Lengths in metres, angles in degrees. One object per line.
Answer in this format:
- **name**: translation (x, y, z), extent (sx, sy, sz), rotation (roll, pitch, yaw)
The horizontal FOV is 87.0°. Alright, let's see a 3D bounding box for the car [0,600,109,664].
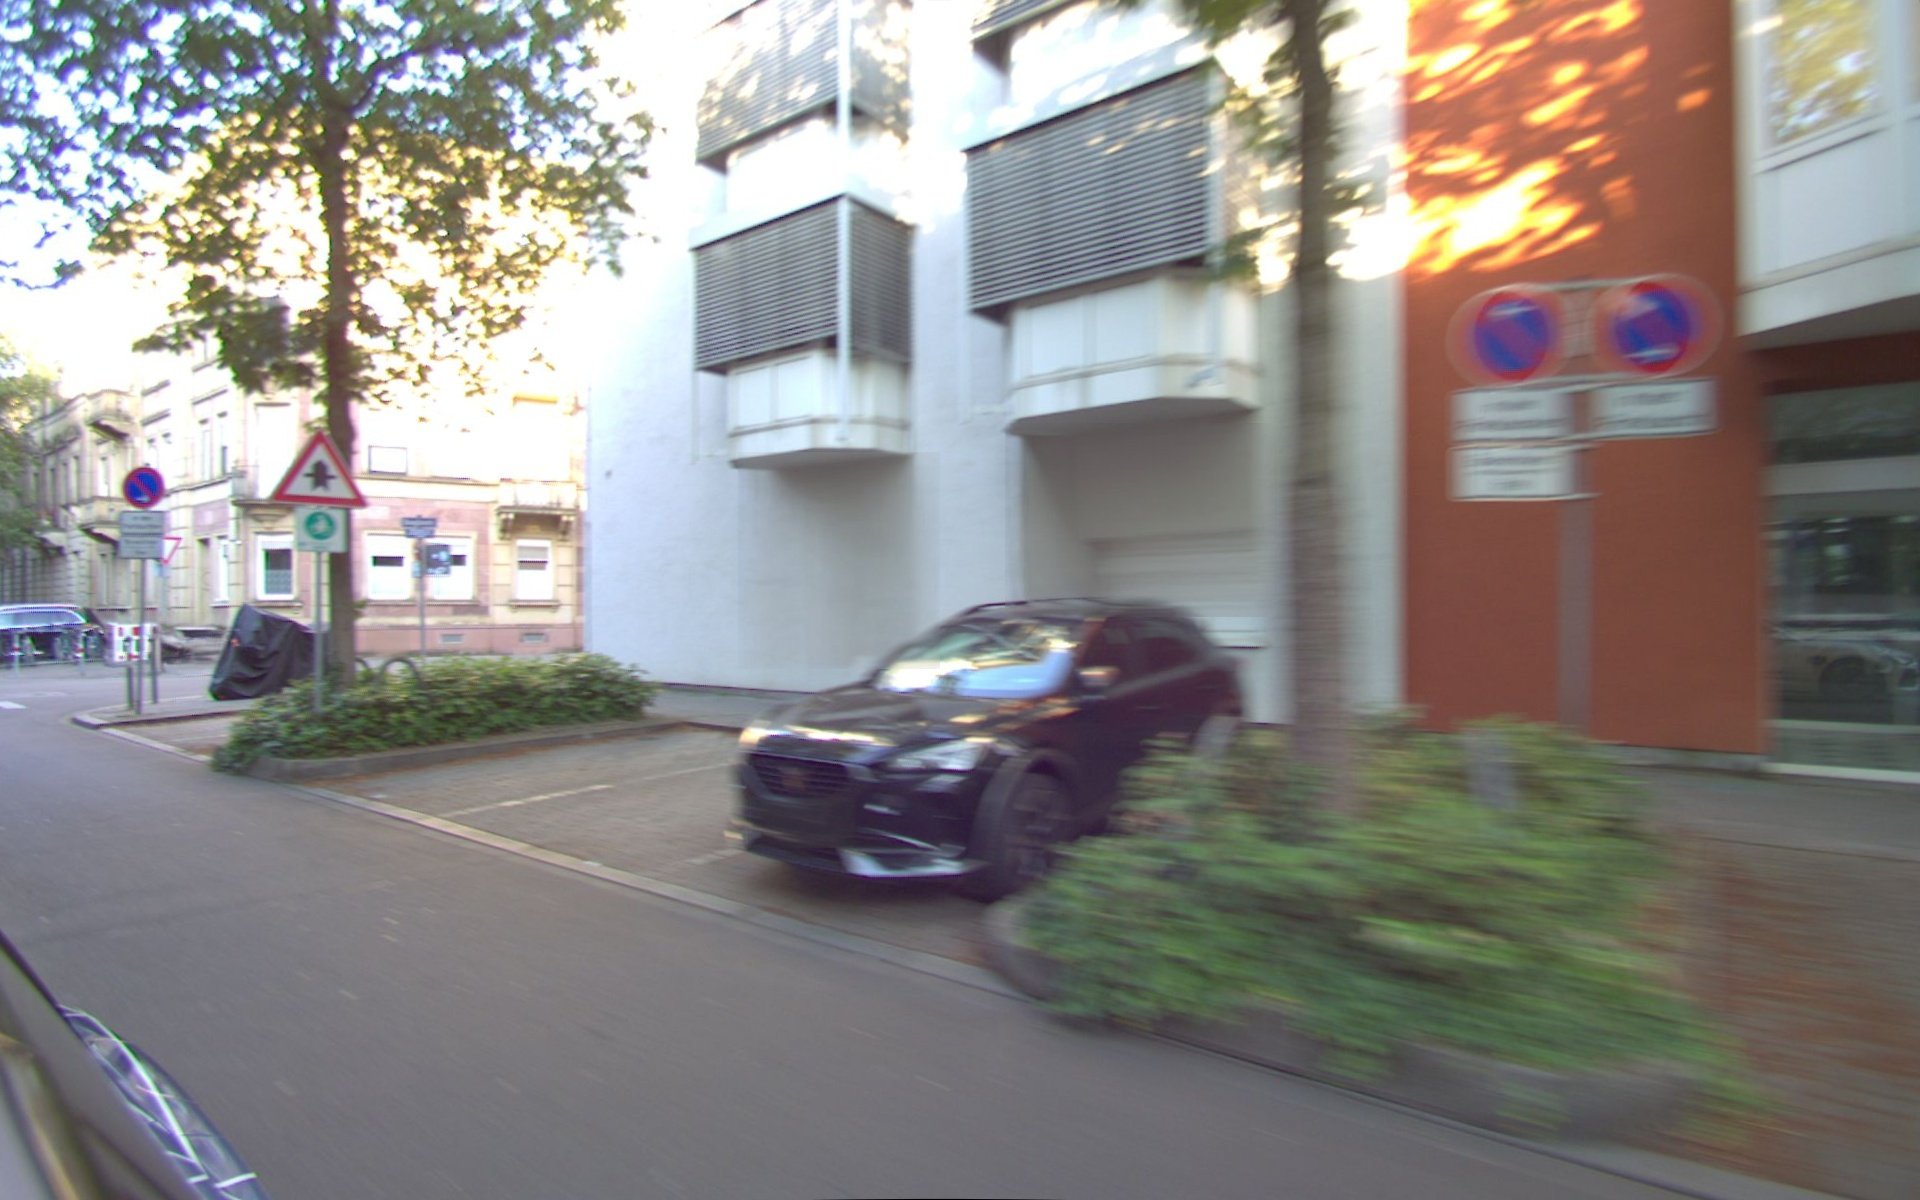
- **car**: translation (-26.912, 0.886, 28.311), extent (2.141, 1.748, 4.542), rotation (-1, -1, 42)

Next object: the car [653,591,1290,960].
- **car**: translation (0.453, 0.742, 6.582), extent (1.869, 1.537, 4.467), rotation (-1, -1, 37)

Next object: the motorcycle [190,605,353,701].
- **motorcycle**: translation (-11.435, 0.838, 16.918), extent (0.894, 1.481, 2.221), rotation (-1, -1, 15)
